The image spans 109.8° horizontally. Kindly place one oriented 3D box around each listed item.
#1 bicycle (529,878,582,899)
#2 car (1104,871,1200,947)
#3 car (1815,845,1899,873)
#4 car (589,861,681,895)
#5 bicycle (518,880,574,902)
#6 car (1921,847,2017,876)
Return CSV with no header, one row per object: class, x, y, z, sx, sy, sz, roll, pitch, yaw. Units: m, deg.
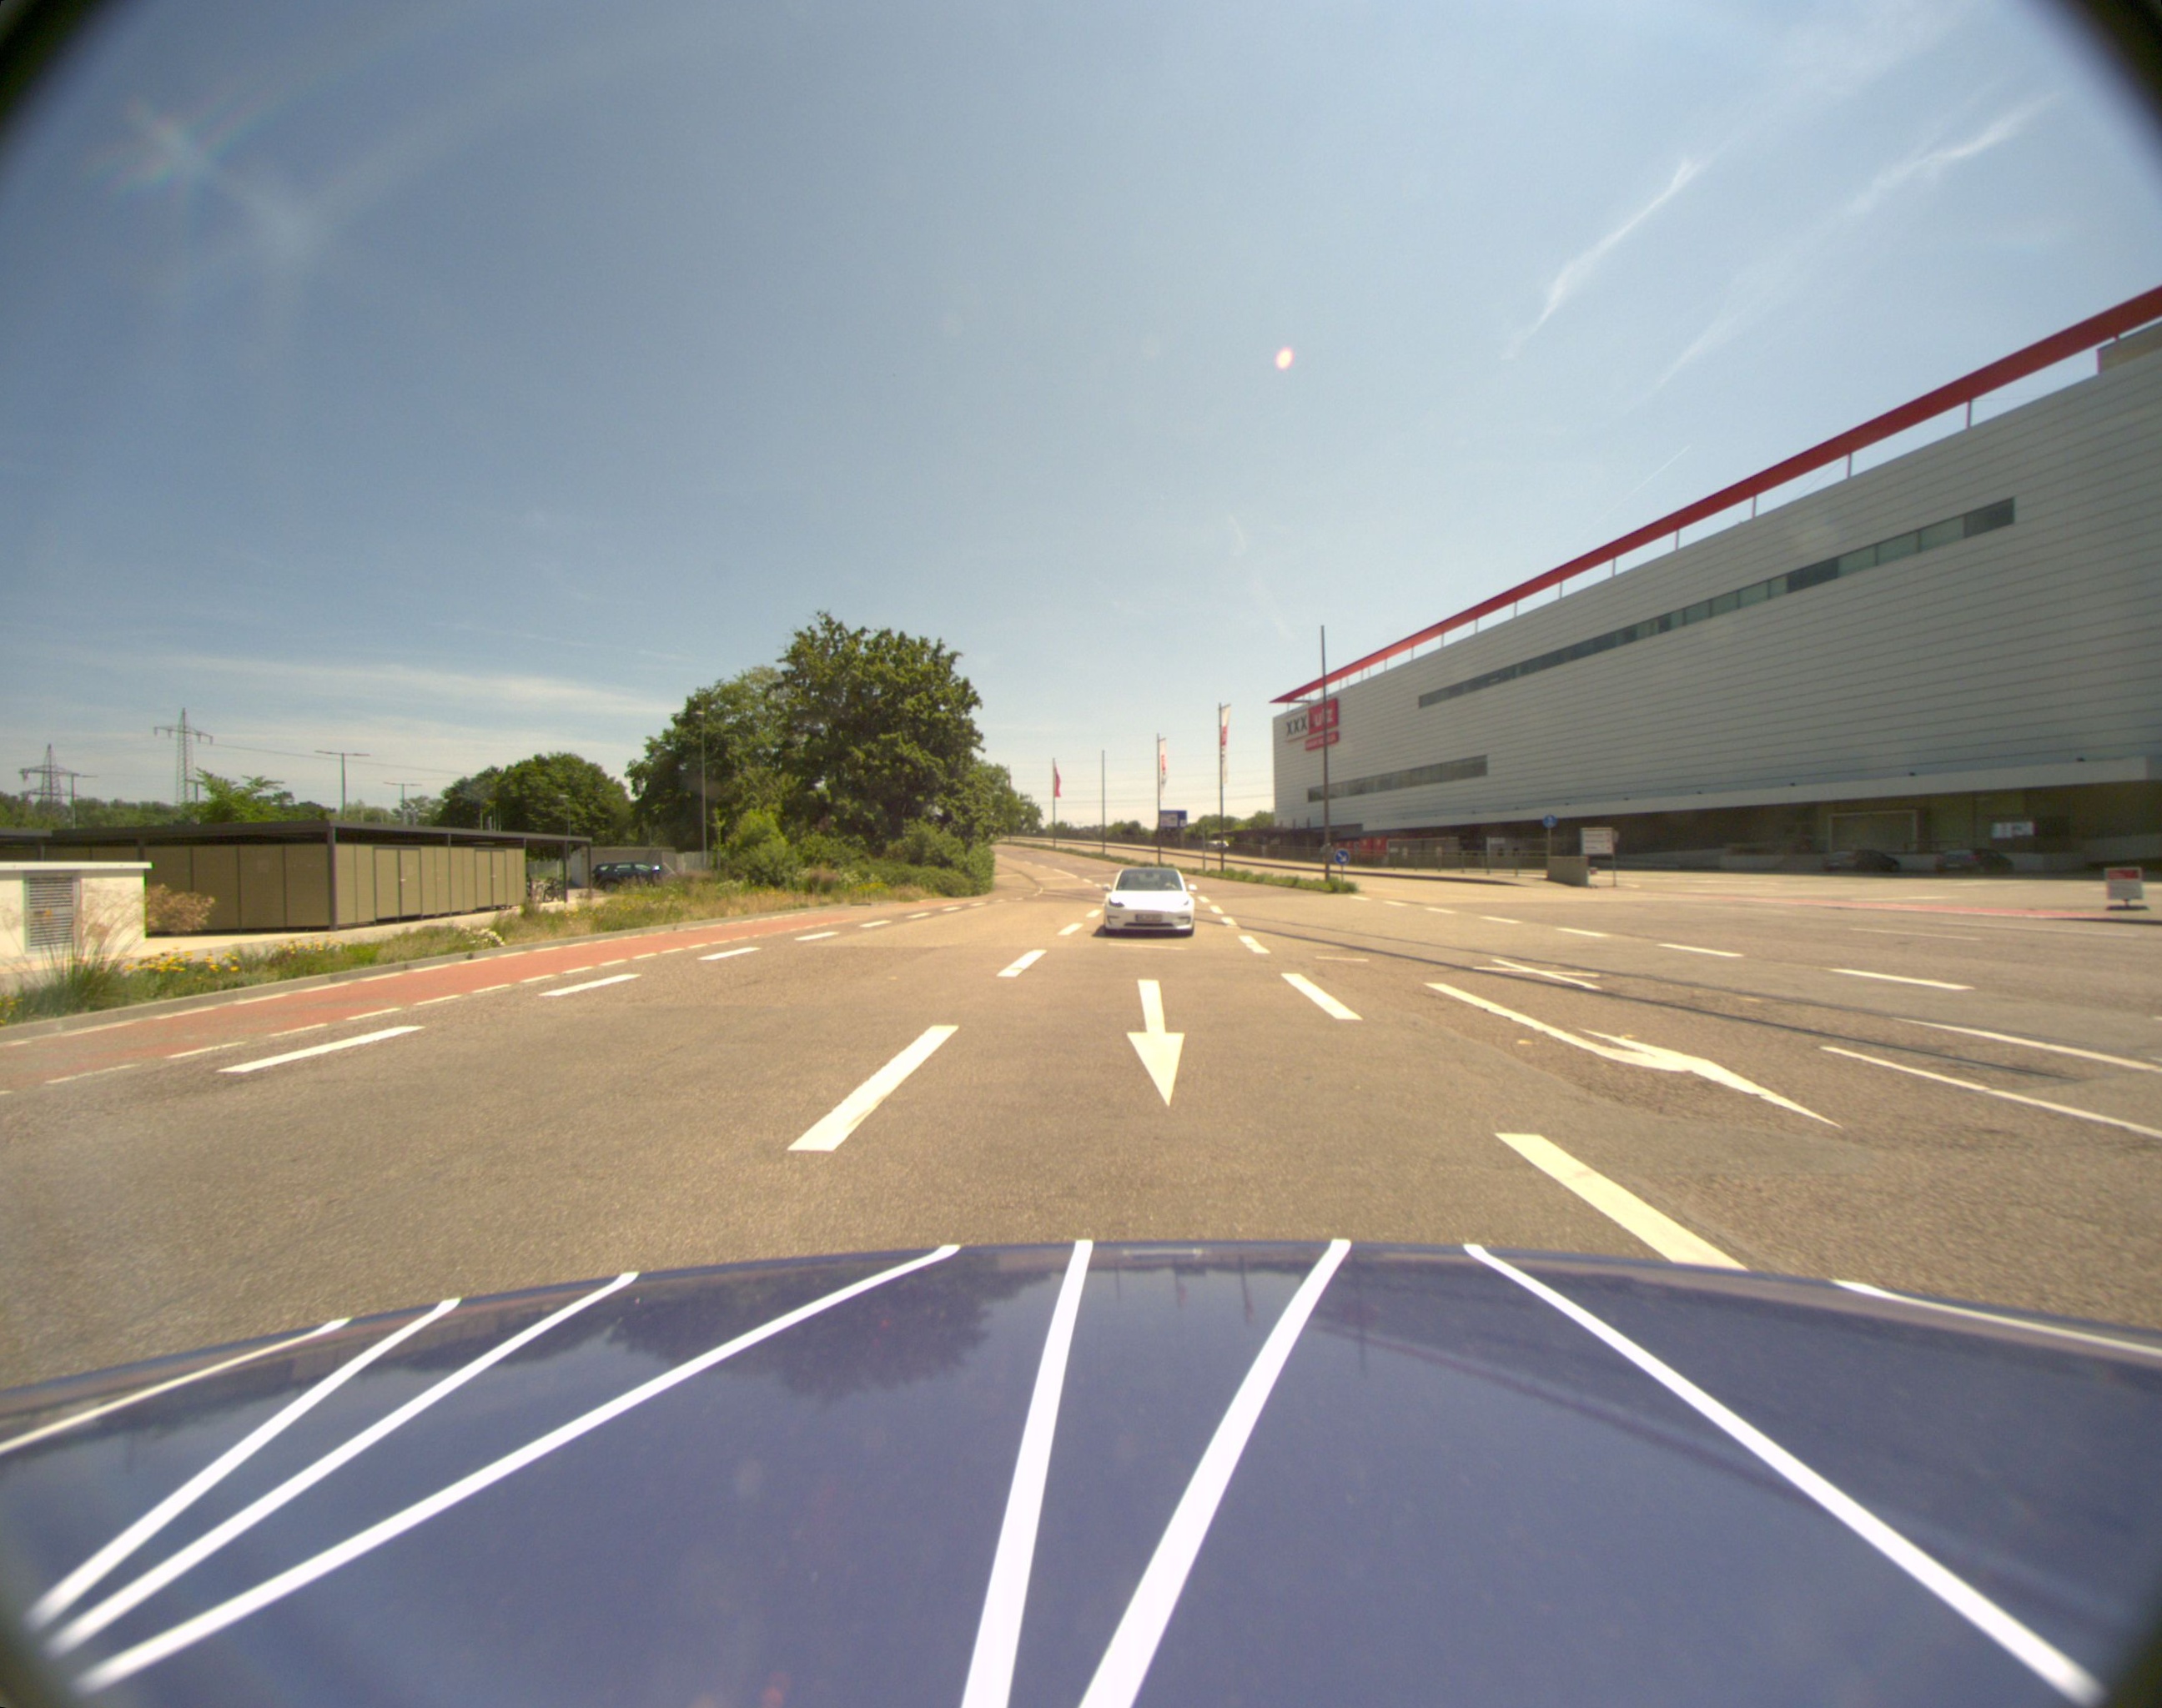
bicycle,-23.556,1.542,34.070,1.865,0.859,0.583,-1,1,-14
car,1.477,1.134,17.190,1.880,1.416,4.407,0,0,2
car,47.546,0.314,46.576,3.751,1.610,1.909,-1,1,-13
car,-23.519,1.221,40.109,4.007,1.652,1.833,-1,1,-37
bicycle,-23.398,1.620,33.242,1.885,0.859,0.589,-1,1,-14
car,48.772,0.410,41.764,3.486,1.487,1.957,-1,1,-12
